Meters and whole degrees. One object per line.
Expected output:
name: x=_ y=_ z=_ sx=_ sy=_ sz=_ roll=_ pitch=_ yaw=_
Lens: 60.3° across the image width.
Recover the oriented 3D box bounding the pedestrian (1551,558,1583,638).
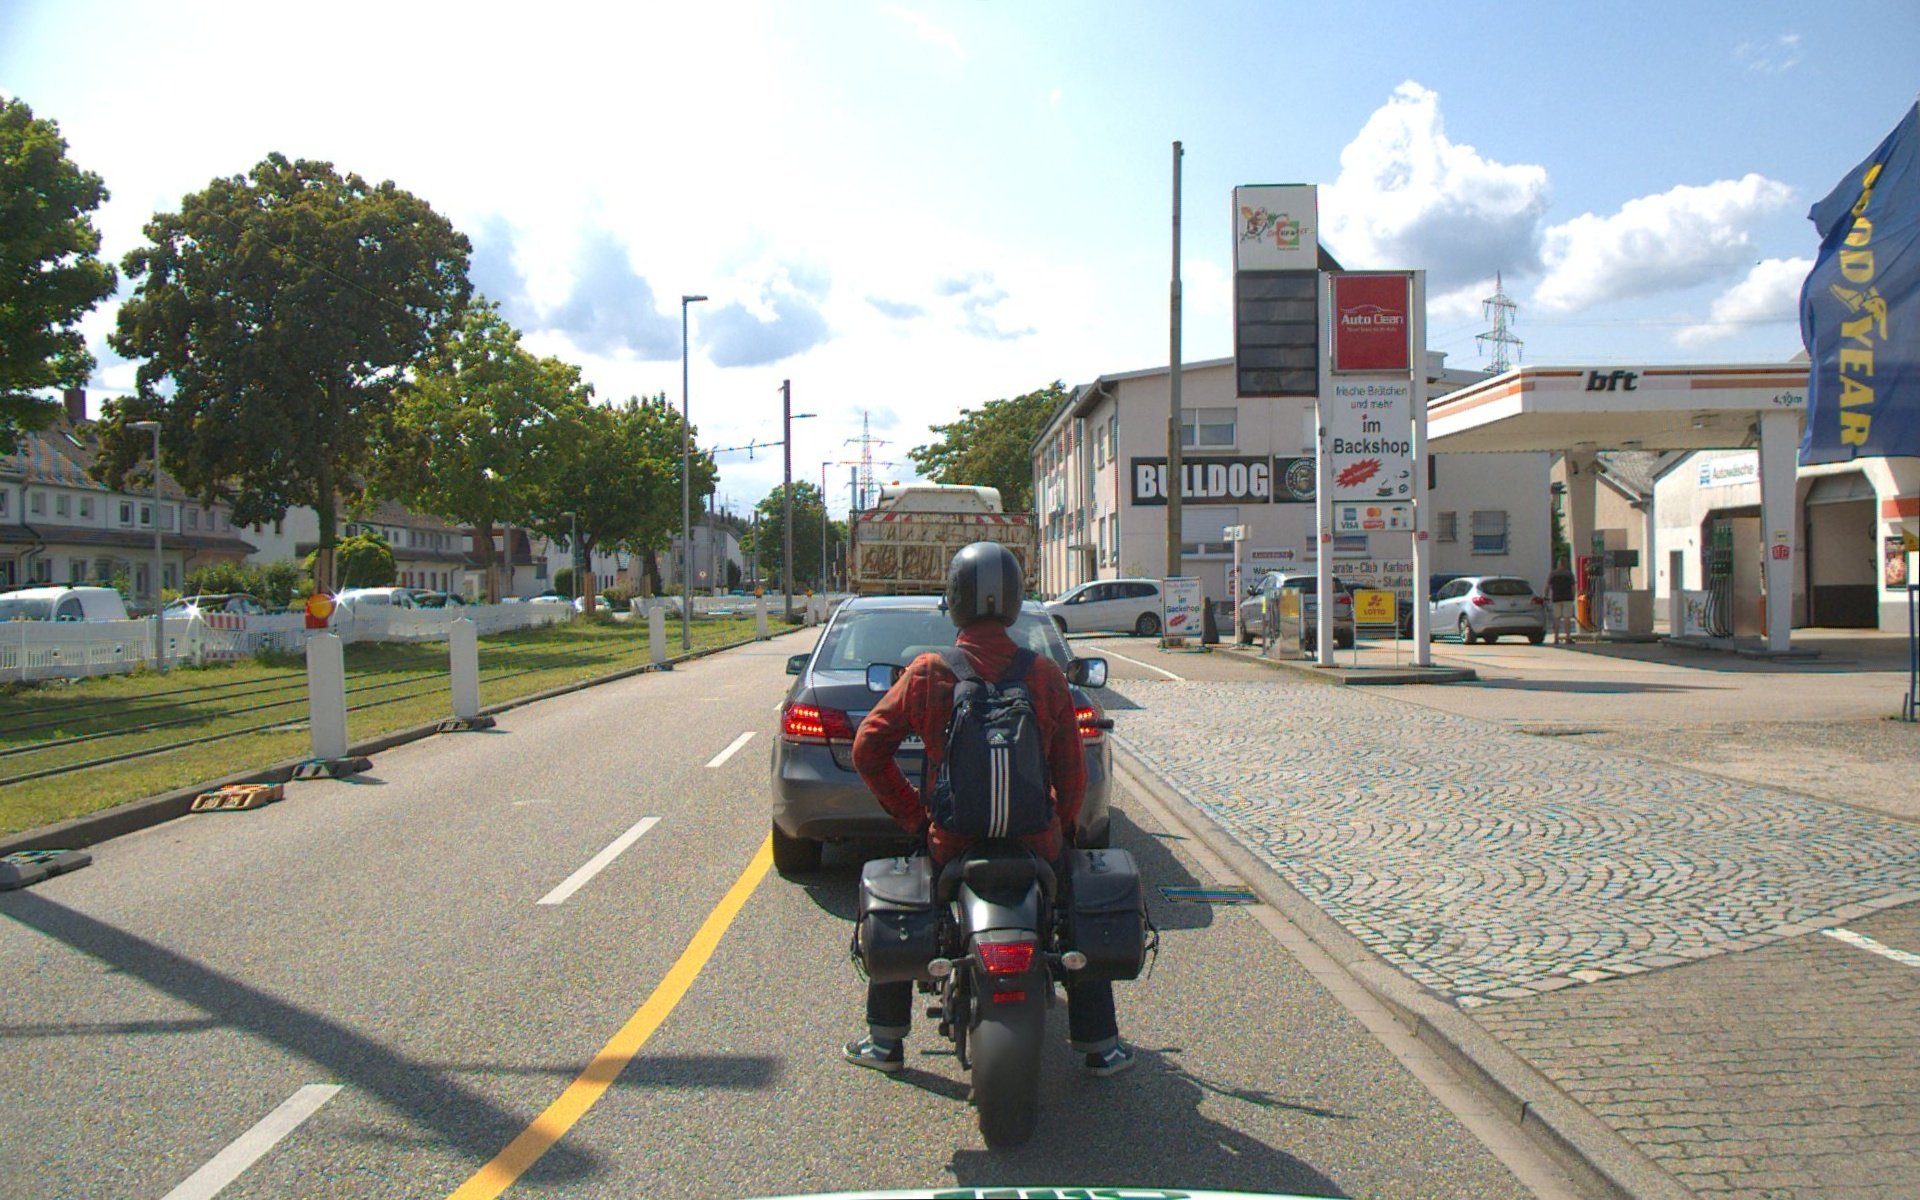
pedestrian: x=13.133 y=-0.042 z=35.790 sx=0.621 sy=1.712 sz=0.622 roll=-1 pitch=0 yaw=20

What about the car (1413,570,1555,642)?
car: x=11.771 y=0.107 z=37.418 sx=1.795 sy=1.505 sz=4.008 roll=-1 pitch=0 yaw=-2

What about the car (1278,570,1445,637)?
car: x=10.628 y=0.080 z=43.946 sx=4.020 sy=1.652 sz=1.686 roll=-1 pitch=0 yaw=1

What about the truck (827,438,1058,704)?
truck: x=-0.357 y=-0.418 z=25.467 sx=2.910 sy=3.362 sz=8.404 roll=-1 pitch=0 yaw=-2

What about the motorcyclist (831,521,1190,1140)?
motorcyclist: x=0.128 y=0.620 z=5.074 sx=0.950 sy=1.662 sz=1.214 roll=1 pitch=0 yaw=-1

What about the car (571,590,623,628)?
car: x=-17.415 y=0.413 z=79.472 sx=1.664 sy=1.770 sz=3.860 roll=-1 pitch=0 yaw=-1

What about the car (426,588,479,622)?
car: x=-28.184 y=0.253 z=91.933 sx=1.664 sy=1.770 sz=4.061 roll=-1 pitch=0 yaw=-1

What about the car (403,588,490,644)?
car: x=-17.021 y=0.503 z=54.979 sx=1.664 sy=1.770 sz=3.860 roll=-1 pitch=0 yaw=-1

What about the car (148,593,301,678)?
car: x=-16.674 y=0.762 z=37.715 sx=1.664 sy=1.770 sz=4.053 roll=-1 pitch=0 yaw=-1

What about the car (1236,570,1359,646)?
car: x=7.426 y=0.147 z=36.754 sx=1.795 sy=1.562 sz=4.008 roll=-1 pitch=0 yaw=-2

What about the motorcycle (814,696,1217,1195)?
motorcycle: x=0.117 y=0.903 z=5.192 sx=0.956 sy=1.031 sz=2.431 roll=1 pitch=0 yaw=-1

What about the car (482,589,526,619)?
car: x=-28.667 y=0.239 z=104.145 sx=1.664 sy=1.770 sz=4.061 roll=-1 pitch=0 yaw=-1

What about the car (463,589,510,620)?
car: x=-28.064 y=0.268 z=98.143 sx=1.664 sy=1.770 sz=4.061 roll=-1 pitch=0 yaw=-1

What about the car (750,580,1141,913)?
car: x=-0.126 y=0.665 z=9.734 sx=1.795 sy=1.505 sz=4.008 roll=-1 pitch=0 yaw=-2

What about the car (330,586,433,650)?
car: x=-16.956 y=0.500 z=48.612 sx=1.664 sy=1.770 sz=3.860 roll=-1 pitch=0 yaw=-1

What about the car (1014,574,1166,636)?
car: x=3.669 y=0.123 z=47.082 sx=4.029 sy=1.652 sz=1.682 roll=-1 pitch=0 yaw=-9

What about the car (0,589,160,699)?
car: x=-16.419 y=0.748 z=30.292 sx=1.664 sy=1.849 sz=3.860 roll=-1 pitch=0 yaw=-1
